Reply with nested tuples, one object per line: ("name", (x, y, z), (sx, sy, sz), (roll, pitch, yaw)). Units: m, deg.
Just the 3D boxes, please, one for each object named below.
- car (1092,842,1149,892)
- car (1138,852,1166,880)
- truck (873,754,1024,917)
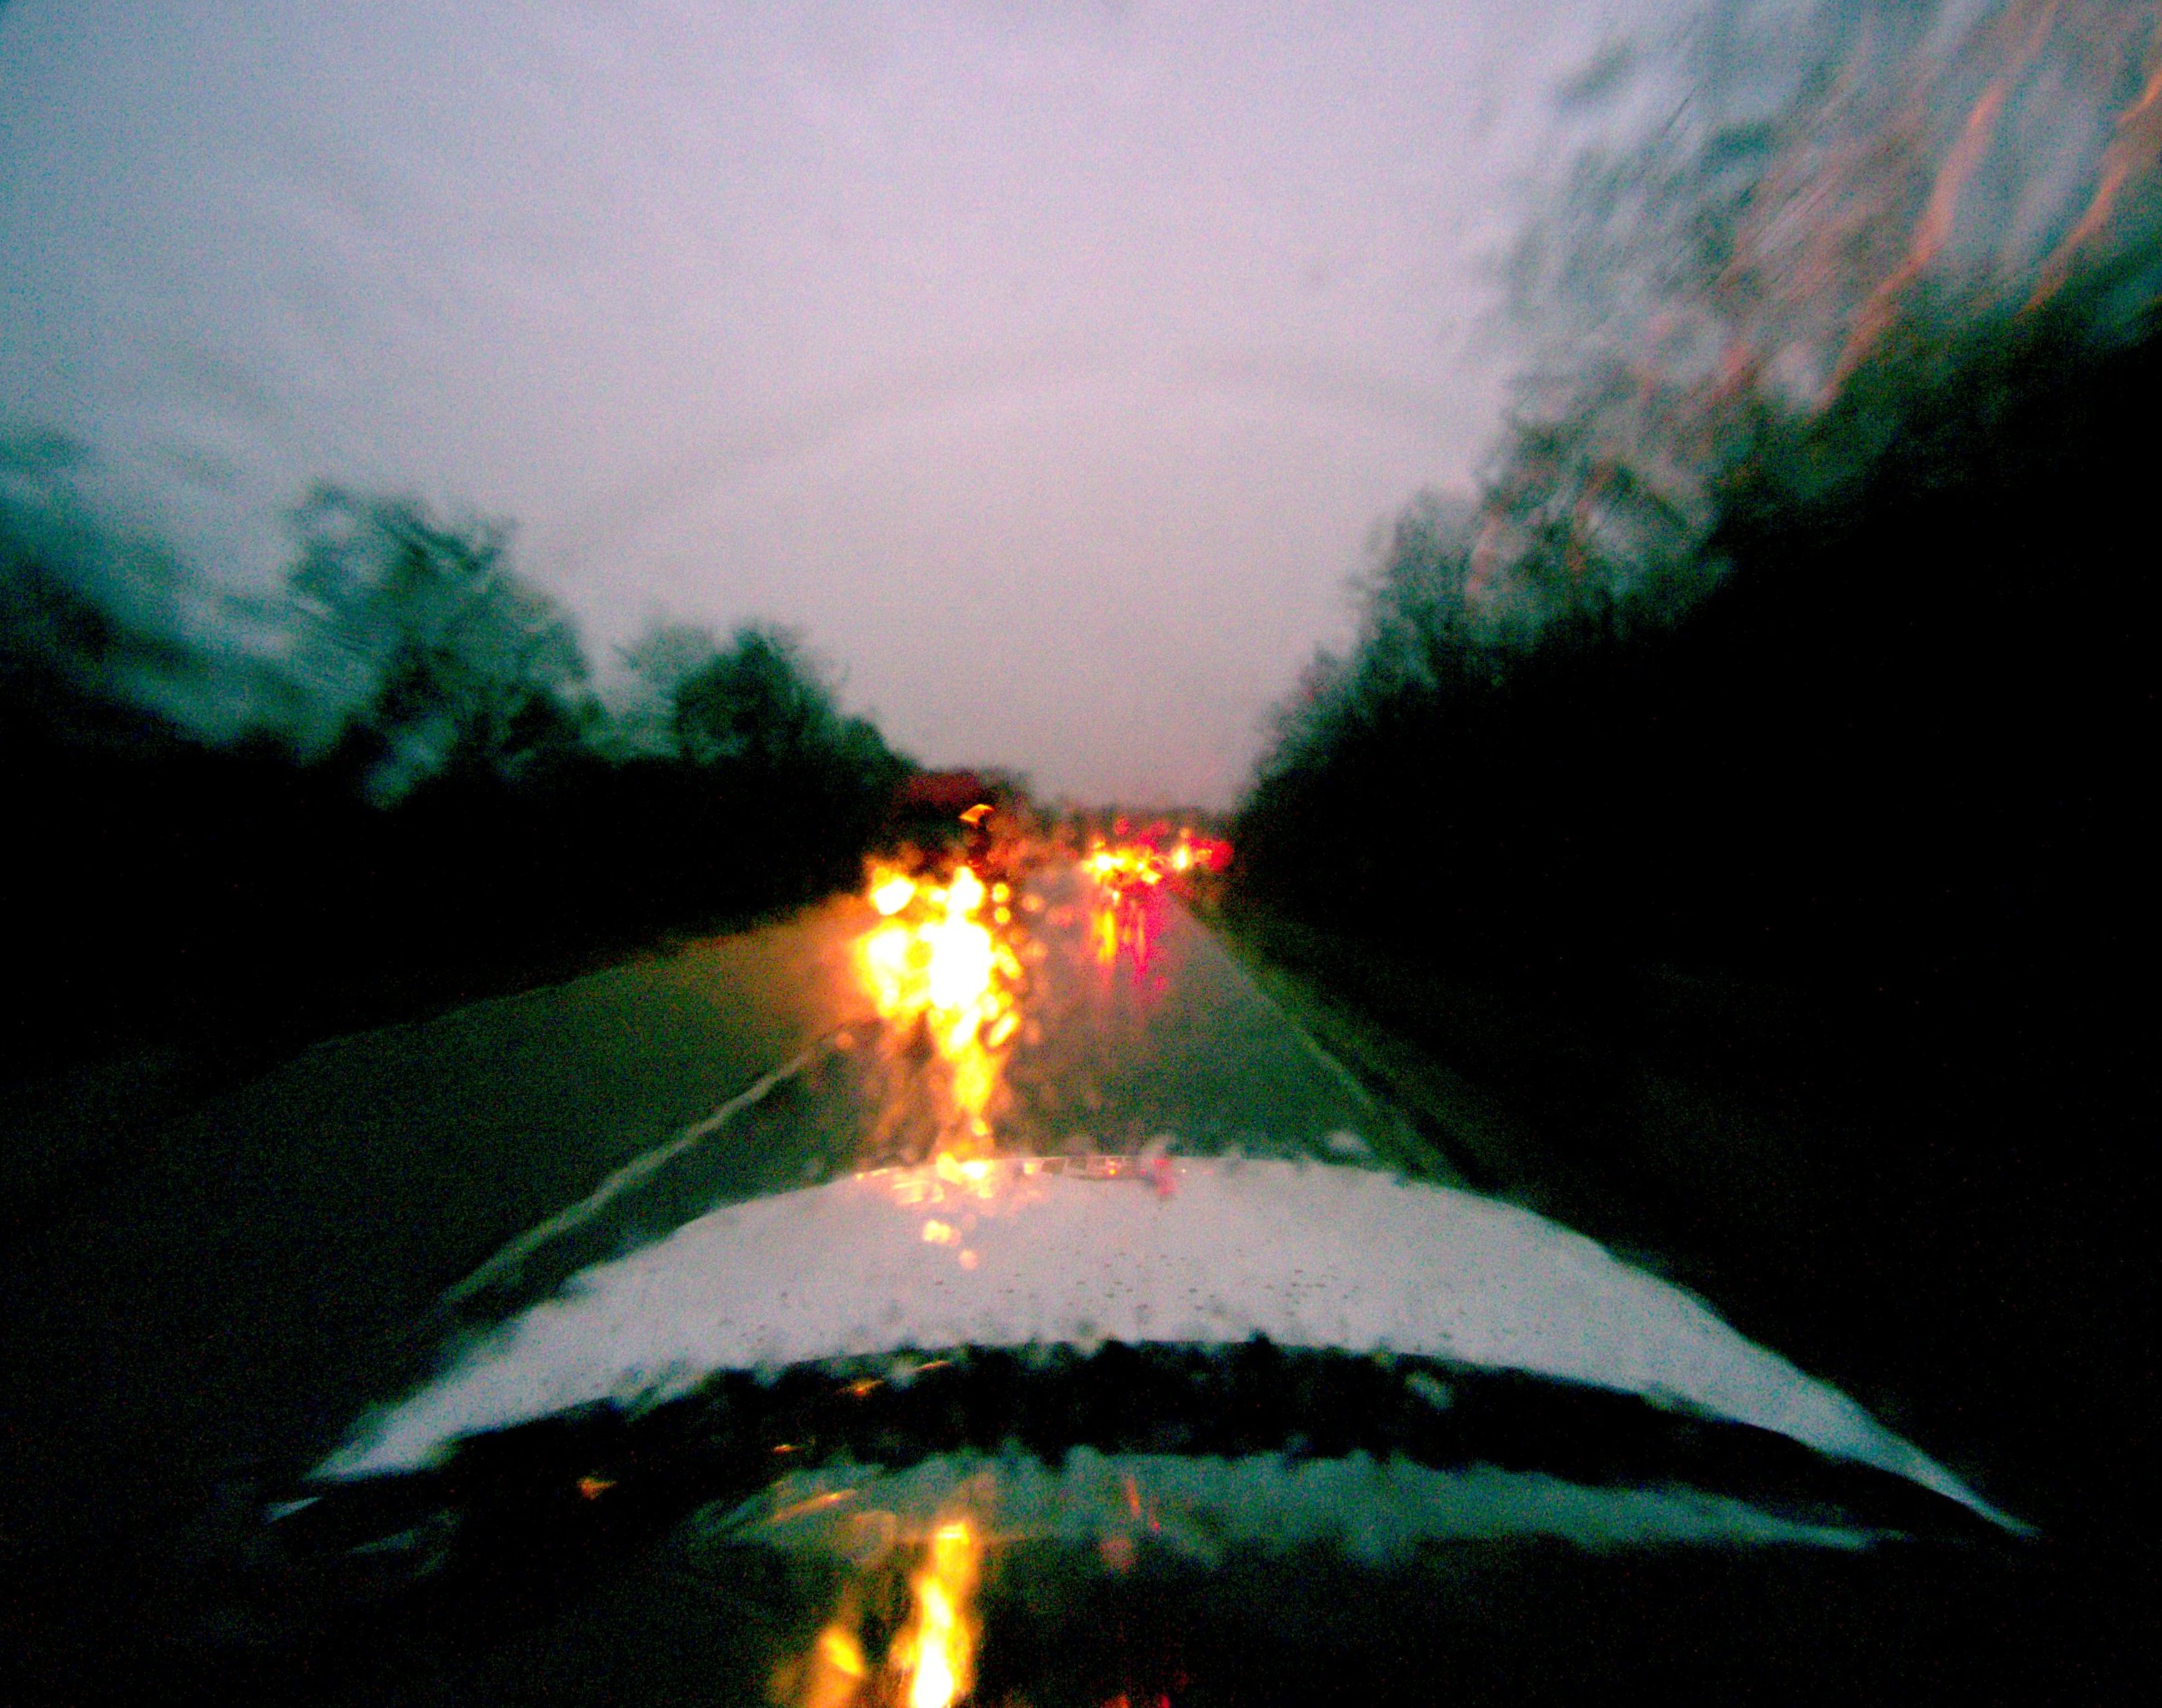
("car", (1.371, 0.426, 29.728), (1.723, 1.643, 3.997), (-2, 0, -2))
("car", (5.523, 0.898, 62.758), (1.983, 2.013, 4.007), (-2, 0, 6))
("truck", (-3.375, -0.461, 23.175), (2.813, 3.716, 8.531), (-2, 0, 0))
